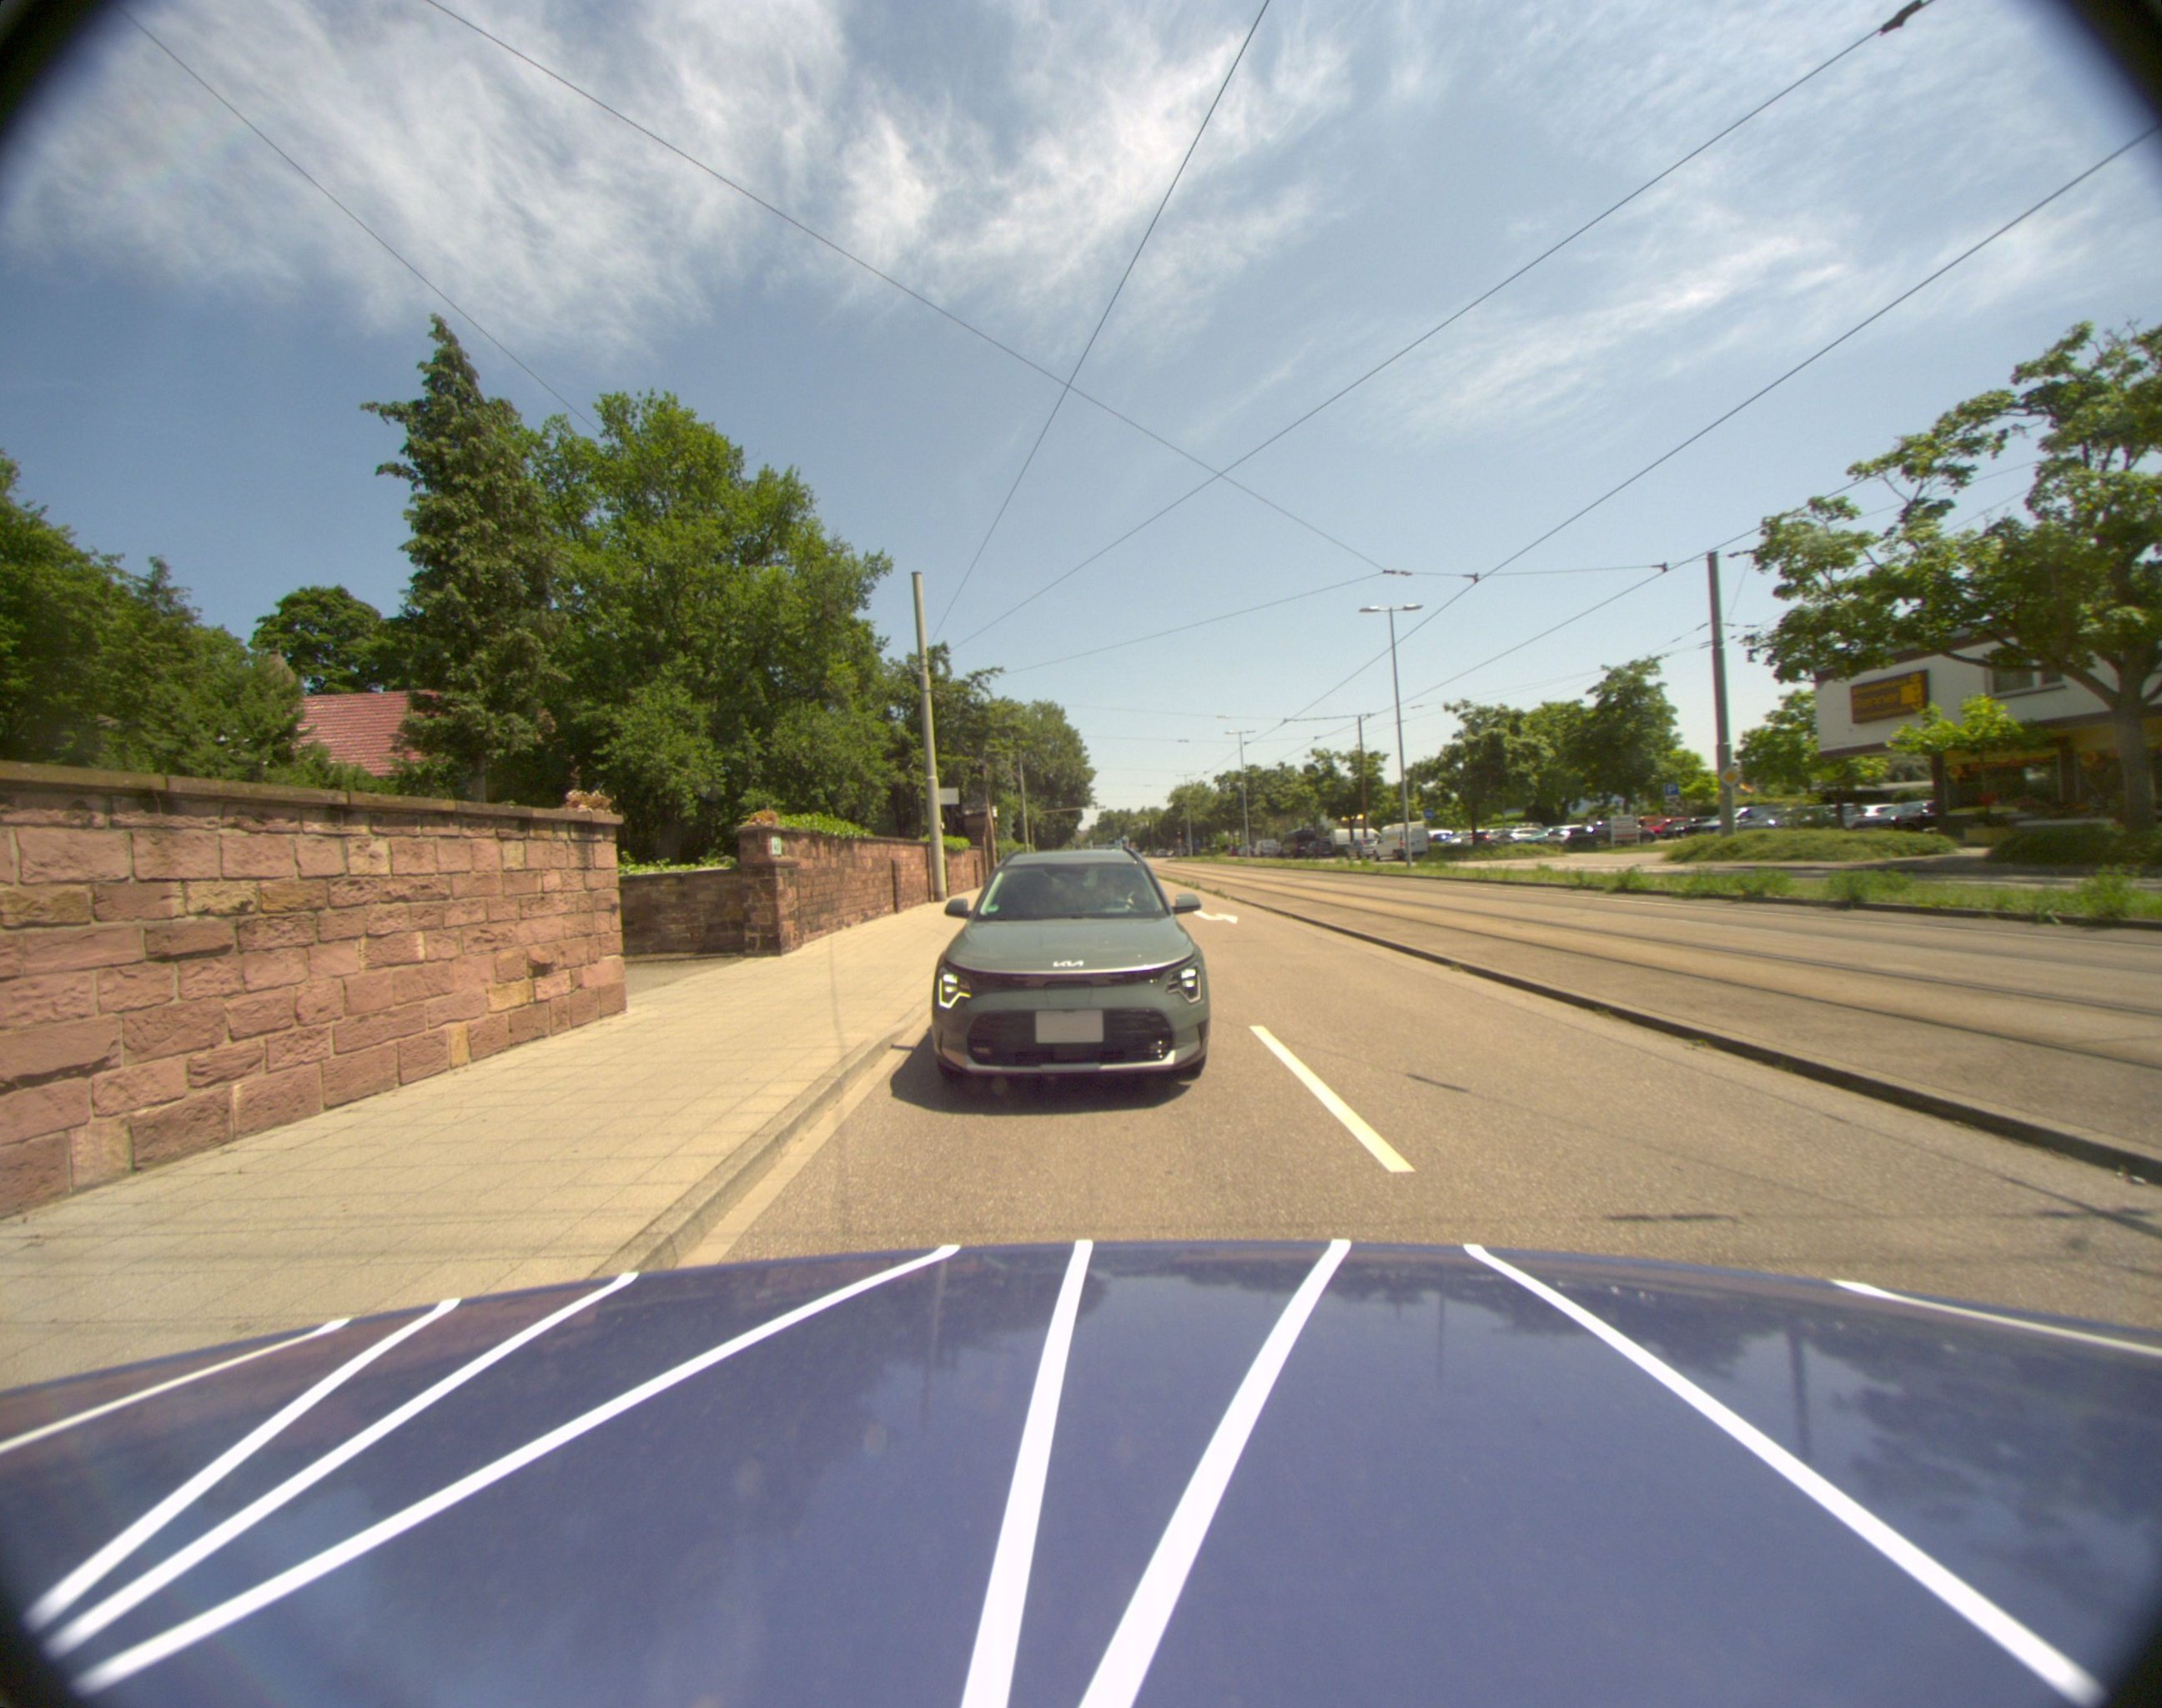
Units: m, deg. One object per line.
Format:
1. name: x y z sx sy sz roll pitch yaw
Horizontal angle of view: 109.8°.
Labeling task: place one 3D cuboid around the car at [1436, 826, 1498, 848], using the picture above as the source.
1. car: 30.540 -1.317 60.147 3.999 1.480 1.866 -3 1 -6

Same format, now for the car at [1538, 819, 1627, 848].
1. car: 31.159 -1.252 47.270 4.171 1.481 1.984 -3 1 -1

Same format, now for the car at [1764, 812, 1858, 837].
1. car: 42.792 -1.727 44.617 3.724 1.277 1.764 -2 1 3

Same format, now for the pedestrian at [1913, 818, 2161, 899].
1. pedestrian: 26.727 0.090 21.499 1.998 2.002 3.999 -2 1 0

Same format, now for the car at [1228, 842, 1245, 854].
1. car: 20.682 -0.816 101.069 1.582 1.472 3.423 -2 1 2

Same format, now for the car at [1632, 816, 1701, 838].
1. car: 44.261 -2.050 57.472 3.999 1.486 1.715 -2 1 -5

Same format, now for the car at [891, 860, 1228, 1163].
1. car: -0.127 0.891 6.351 1.824 1.577 4.287 -2 0 0

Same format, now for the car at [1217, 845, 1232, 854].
1. car: 21.347 -0.662 113.202 1.582 1.152 3.423 -2 1 2

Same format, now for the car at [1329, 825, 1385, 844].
1. car: 30.708 -2.168 84.668 5.434 1.945 2.029 -2 1 2

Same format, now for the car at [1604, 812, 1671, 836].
1. car: 43.761 -2.379 59.748 4.129 1.643 1.692 -3 1 -5

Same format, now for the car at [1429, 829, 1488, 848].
1. car: 31.198 -1.277 62.910 3.998 1.398 1.797 -2 0 -3

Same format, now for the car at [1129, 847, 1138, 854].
1. car: 15.215 -0.949 220.339 1.821 1.979 4.212 -2 1 -3

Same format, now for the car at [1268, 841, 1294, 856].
1. car: 20.618 -0.624 78.532 1.767 1.456 3.608 -2 1 2

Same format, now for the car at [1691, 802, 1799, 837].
1. car: 43.391 -2.216 49.733 5.120 2.058 2.226 -2 1 1

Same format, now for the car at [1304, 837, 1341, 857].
1. car: 20.345 -0.569 64.116 1.976 1.568 3.751 -2 1 1

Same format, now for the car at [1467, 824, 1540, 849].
1. car: 30.455 -1.241 54.823 4.163 1.481 2.022 -3 1 -6

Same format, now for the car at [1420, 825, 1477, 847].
1. car: 31.646 -1.540 65.563 3.998 1.708 1.797 -3 1 -3

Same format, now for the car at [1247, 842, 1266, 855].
1. car: 20.685 -0.701 89.774 1.429 1.470 3.262 -2 1 1

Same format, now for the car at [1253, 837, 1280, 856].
1. car: 20.598 -0.865 84.381 1.924 1.937 4.816 -2 1 2

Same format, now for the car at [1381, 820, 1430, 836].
1. car: 44.741 -3.588 104.780 5.744 2.051 2.147 -2 1 -2

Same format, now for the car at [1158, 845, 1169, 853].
1. car: 16.043 -0.993 148.156 1.728 1.601 4.569 -2 1 2

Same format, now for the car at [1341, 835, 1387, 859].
1. car: 20.235 -0.489 54.511 1.654 1.494 4.125 -6 1 1

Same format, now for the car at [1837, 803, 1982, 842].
1. car: 34.084 -1.290 31.328 3.996 1.289 1.682 -4 0 2

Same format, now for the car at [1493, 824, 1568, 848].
1. car: 30.962 -1.207 52.411 4.146 1.481 1.859 -2 1 -6

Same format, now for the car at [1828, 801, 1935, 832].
1. car: 43.938 -2.043 41.751 3.996 1.511 1.661 -2 1 3

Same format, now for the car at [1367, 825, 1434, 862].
1. car: 20.080 -0.666 47.997 1.880 1.999 5.343 -6 1 1

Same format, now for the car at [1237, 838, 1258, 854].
1. car: 20.714 -0.998 94.614 1.635 1.882 4.496 -2 1 1

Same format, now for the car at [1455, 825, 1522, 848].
1. car: 30.888 -1.298 57.654 4.075 1.481 1.831 -3 1 -6

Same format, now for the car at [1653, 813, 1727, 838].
1. car: 43.860 -2.031 54.772 3.997 1.576 1.684 -2 1 -1

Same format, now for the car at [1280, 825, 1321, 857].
1. car: 20.268 -1.209 70.471 2.244 2.822 5.667 -2 1 1

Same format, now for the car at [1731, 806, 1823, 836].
1. car: 43.301 -2.048 47.313 3.996 1.647 1.803 -2 1 3

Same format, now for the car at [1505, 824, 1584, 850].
1. car: 30.438 -1.116 49.956 4.040 1.481 1.911 -2 1 -6

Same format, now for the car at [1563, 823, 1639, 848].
1. car: 30.564 -1.064 44.704 3.423 1.225 1.643 -3 1 -6
